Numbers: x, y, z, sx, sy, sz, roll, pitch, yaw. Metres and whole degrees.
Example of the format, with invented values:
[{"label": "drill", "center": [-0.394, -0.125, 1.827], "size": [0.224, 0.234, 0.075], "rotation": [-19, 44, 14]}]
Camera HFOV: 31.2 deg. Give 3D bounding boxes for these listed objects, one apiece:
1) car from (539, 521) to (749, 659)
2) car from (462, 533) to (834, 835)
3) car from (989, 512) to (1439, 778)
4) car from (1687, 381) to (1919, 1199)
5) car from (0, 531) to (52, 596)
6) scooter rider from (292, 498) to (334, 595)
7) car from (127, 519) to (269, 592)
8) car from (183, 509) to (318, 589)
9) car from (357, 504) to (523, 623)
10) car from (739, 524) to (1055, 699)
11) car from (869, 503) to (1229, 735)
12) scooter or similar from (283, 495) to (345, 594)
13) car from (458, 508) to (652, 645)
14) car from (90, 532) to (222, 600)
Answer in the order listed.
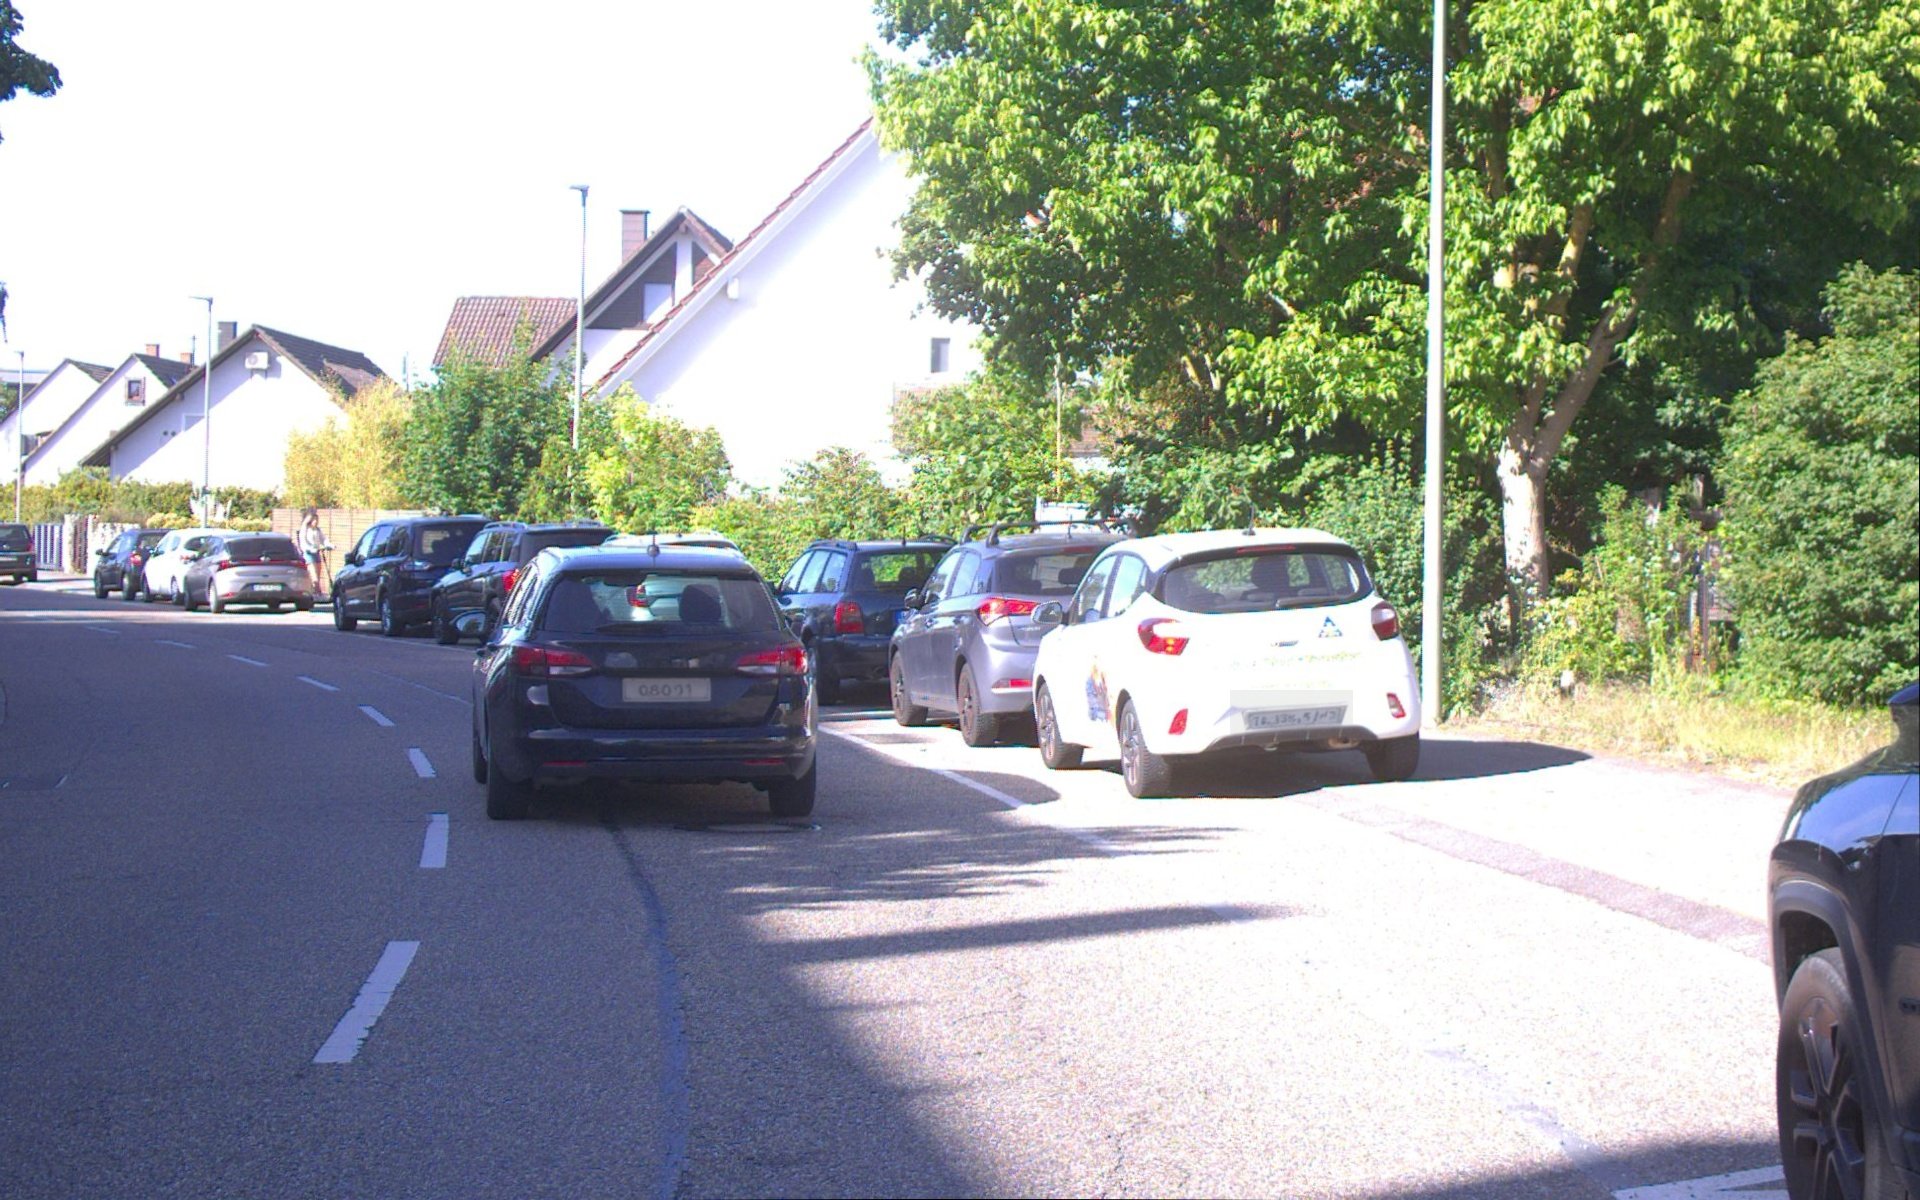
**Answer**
[{"label": "car", "center": [-3.798, -0.129, 40.699], "size": [1.819, 1.529, 4.260], "rotation": [1, 0, -14]}, {"label": "car", "center": [-1.896, 0.413, 19.709], "size": [1.761, 1.486, 4.292], "rotation": [2, 0, -9]}, {"label": "car", "center": [1.453, 0.244, 21.434], "size": [1.760, 1.475, 4.295], "rotation": [1, 0, -10]}, {"label": "car", "center": [2.602, 0.486, 5.555], "size": [1.777, 1.718, 4.294], "rotation": [1, 0, -2]}, {"label": "car", "center": [-26.101, -0.999, 93.573], "size": [2.005, 1.718, 4.295], "rotation": [1, 0, -24]}, {"label": "scooter rider", "center": [-13.737, -1.125, 72.974], "size": [0.685, 2.007, 0.820], "rotation": [1, -1, -23]}, {"label": "car", "center": [-15.413, -0.899, 69.416], "size": [1.916, 1.402, 4.295], "rotation": [1, 0, -25]}, {"label": "car", "center": [-13.113, -0.925, 63.371], "size": [1.915, 1.402, 4.295], "rotation": [1, 0, -18]}, {"label": "car", "center": [-7.767, -0.535, 51.080], "size": [1.902, 1.660, 4.192], "rotation": [1, 0, -16]}, {"label": "car", "center": [-0.660, 0.087, 31.395], "size": [2.005, 1.470, 4.295], "rotation": [1, 0, -13]}, {"label": "car", "center": [0.572, 0.098, 26.060], "size": [1.911, 1.595, 4.295], "rotation": [1, 1, -10]}, {"label": "scooter or similar", "center": [-13.724, -1.163, 72.980], "size": [0.685, 2.007, 2.963], "rotation": [1, -1, -22]}, {"label": "car", "center": [-5.430, -0.310, 45.649], "size": [2.005, 1.718, 4.295], "rotation": [1, 0, -14]}, {"label": "car", "center": [-17.260, -0.731, 73.687], "size": [1.916, 1.402, 4.295], "rotation": [1, 0, -25]}]
